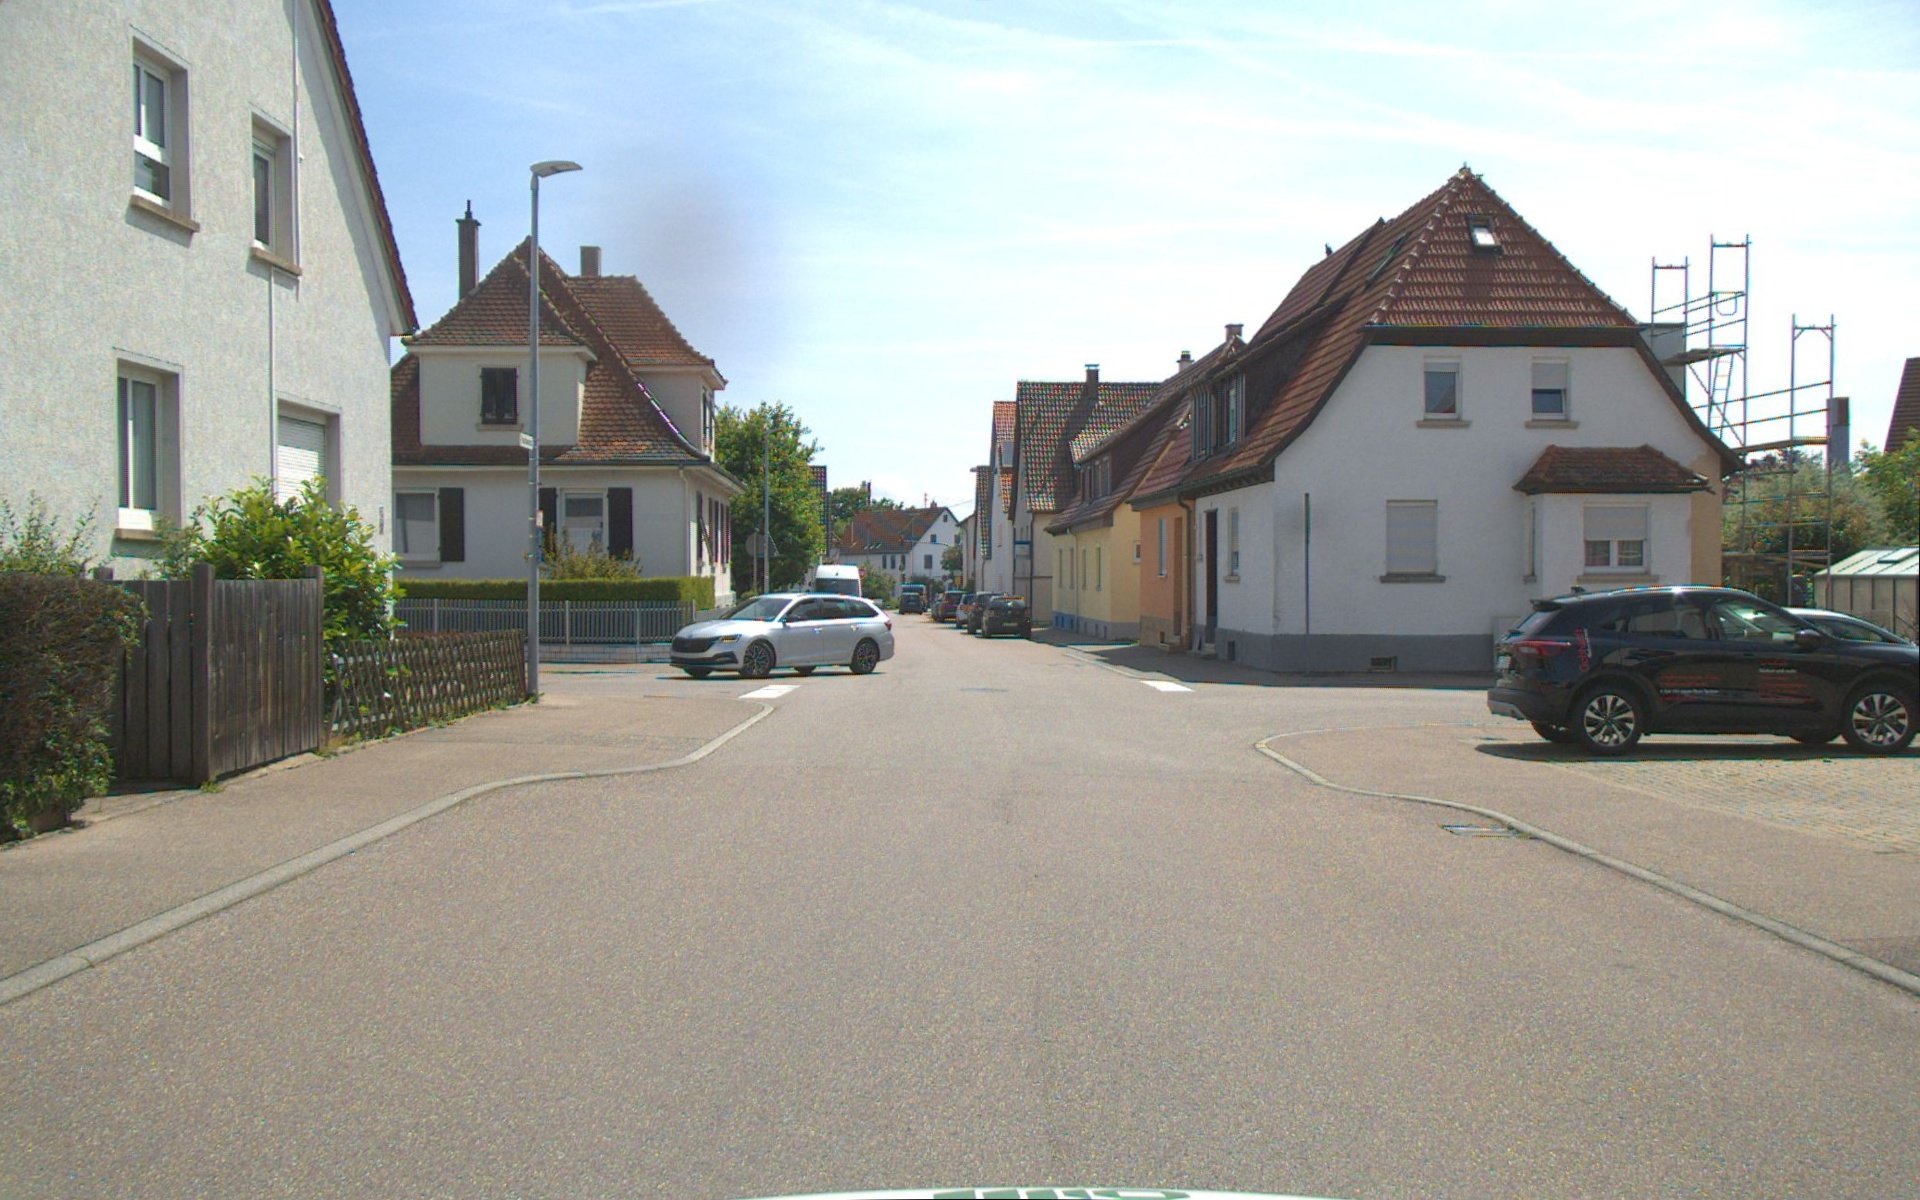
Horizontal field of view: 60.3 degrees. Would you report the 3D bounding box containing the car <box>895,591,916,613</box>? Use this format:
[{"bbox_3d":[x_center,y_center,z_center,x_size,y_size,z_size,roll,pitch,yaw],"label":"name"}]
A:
[{"bbox_3d":[-4.124,0.150,125.812,1.484,1.653,3.184,1,0,0],"label":"car"}]

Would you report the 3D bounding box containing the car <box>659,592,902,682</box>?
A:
[{"bbox_3d":[-3.090,0.604,29.422,1.723,1.463,4.571,0,0,35],"label":"car"}]

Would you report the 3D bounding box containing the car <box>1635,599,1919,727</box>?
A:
[{"bbox_3d":[10.890,0.773,21.083,3.903,1.530,1.695,1,0,5],"label":"car"}]

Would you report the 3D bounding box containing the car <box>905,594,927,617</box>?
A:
[{"bbox_3d":[-3.236,0.398,121.889,1.484,1.594,3.184,0,0,0],"label":"car"}]

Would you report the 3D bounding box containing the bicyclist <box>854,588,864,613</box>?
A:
[{"bbox_3d":[-7.566,0.028,123.604,0.699,1.830,0.941,0,0,-5],"label":"bicyclist"}]

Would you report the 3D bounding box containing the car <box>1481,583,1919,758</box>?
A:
[{"bbox_3d":[7.803,0.690,17.274,4.203,1.682,1.849,1,0,5],"label":"car"}]

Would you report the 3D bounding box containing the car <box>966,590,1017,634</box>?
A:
[{"bbox_3d":[1.192,0.425,64.071,1.694,1.628,4.251,1,0,-3],"label":"car"}]

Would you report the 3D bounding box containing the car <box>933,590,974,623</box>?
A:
[{"bbox_3d":[-0.381,0.328,90.985,1.839,1.730,4.178,1,0,-5],"label":"car"}]

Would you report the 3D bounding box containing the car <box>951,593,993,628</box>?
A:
[{"bbox_3d":[0.516,0.469,75.984,1.641,1.586,3.037,1,0,-5],"label":"car"}]

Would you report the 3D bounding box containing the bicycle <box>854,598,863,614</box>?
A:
[{"bbox_3d":[-7.567,0.444,123.462,0.657,1.152,2.187,0,0,-4],"label":"bicycle"}]

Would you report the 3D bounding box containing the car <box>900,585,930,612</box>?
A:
[{"bbox_3d":[-3.662,-0.102,136.129,2.084,2.196,4.738,0,0,3],"label":"car"}]

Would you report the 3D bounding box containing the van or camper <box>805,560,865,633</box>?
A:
[{"bbox_3d":[-4.759,-0.151,63.446,2.141,2.616,6.802,1,0,-4],"label":"van or camper"}]

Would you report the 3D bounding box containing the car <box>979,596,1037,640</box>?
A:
[{"bbox_3d":[1.657,0.611,58.314,1.579,1.456,3.750,1,0,-5],"label":"car"}]
